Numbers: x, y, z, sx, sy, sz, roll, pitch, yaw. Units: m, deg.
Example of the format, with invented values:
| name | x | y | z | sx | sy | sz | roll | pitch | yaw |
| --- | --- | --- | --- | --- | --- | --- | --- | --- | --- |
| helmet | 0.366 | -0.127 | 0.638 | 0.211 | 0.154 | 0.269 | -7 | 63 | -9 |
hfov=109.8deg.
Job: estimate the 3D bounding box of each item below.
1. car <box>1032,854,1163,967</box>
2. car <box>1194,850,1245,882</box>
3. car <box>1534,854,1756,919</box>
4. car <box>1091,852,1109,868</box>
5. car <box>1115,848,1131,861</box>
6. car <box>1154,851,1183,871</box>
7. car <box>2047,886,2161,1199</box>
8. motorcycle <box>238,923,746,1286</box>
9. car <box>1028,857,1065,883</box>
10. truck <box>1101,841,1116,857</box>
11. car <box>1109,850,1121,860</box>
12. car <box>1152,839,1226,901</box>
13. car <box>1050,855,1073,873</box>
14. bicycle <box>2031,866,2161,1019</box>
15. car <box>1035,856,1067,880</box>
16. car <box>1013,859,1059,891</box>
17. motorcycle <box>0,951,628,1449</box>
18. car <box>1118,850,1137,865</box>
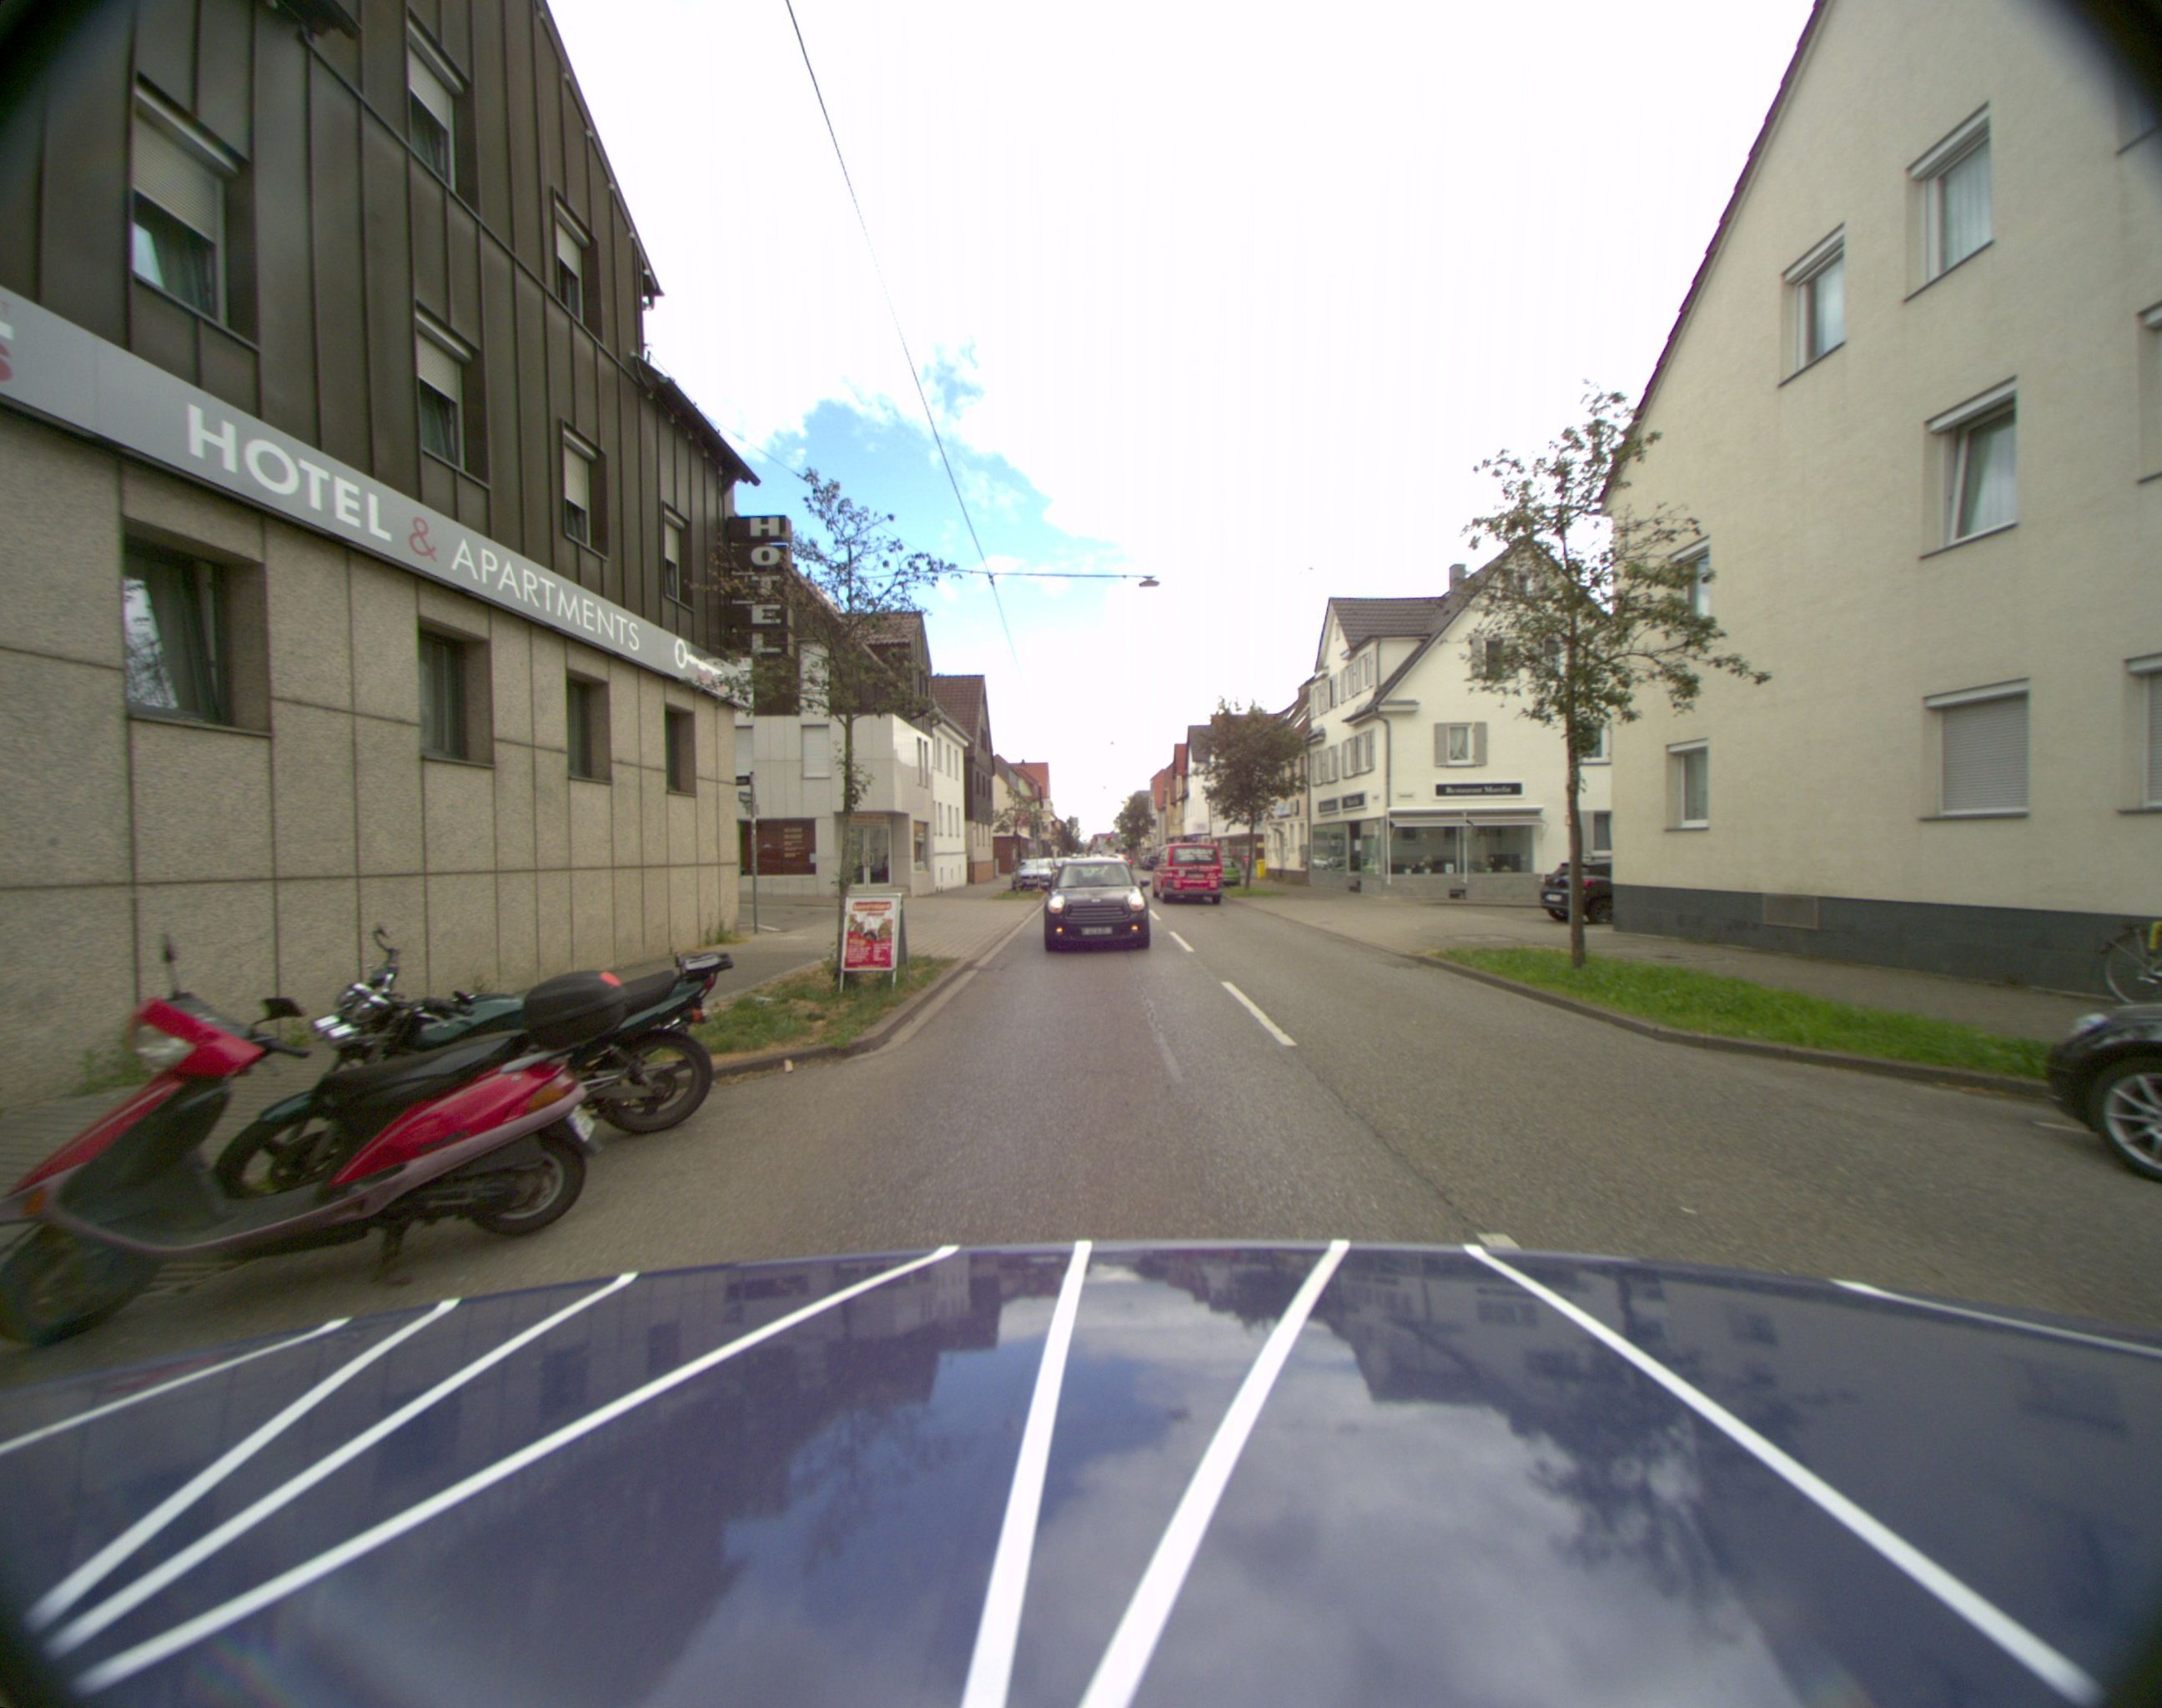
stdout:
| name | x | y | z | sx | sy | sz | roll | pitch | yaw |
| --- | --- | --- | --- | --- | --- | --- | --- | --- | --- |
| car | 0.244 | 0.831 | 13.487 | 1.855 | 1.527 | 4.735 | -2 | 1 | 0 |
| car | 6.687 | 0.559 | 37.041 | 1.715 | 1.389 | 3.900 | -2 | 1 | 0 |
| car | 11.893 | 0.670 | 16.196 | 3.490 | 1.182 | 1.612 | -2 | -1 | 1 |
| car | 2.174 | 0.688 | 85.041 | 1.854 | 1.615 | 4.736 | -2 | 1 | 2 |
| car | 5.201 | 0.061 | 94.011 | 1.779 | 1.446 | 4.000 | -2 | 1 | 2 |
| car | 6.687 | 0.534 | 58.385 | 1.715 | 1.389 | 3.900 | -2 | 1 | 0 |
| car | 5.820 | 0.889 | 1.710 | 1.792 | 1.409 | 4.341 | -1 | 1 | 1 |
| motorcycle | -2.798 | 1.092 | 3.864 | 1.874 | 1.284 | 0.531 | -3 | 1 | -37 |
| car | -1.926 | 0.873 | 43.212 | 1.794 | 1.356 | 3.949 | 0 | 1 | 2 |
| truck | 5.479 | -1.045 | 150.393 | 2.799 | 3.020 | 8.251 | -2 | 1 | 2 |
| car | 5.156 | 0.078 | 116.734 | 1.779 | 1.446 | 4.000 | -2 | 1 | 2 |
| car | 3.554 | 0.472 | 25.780 | 1.855 | 1.932 | 4.490 | 0 | 1 | 0 |
| car | -1.635 | 0.825 | 65.384 | 1.794 | 1.397 | 3.949 | 0 | 1 | 2 |
| bicycle | 8.945 | 0.728 | 5.943 | 0.515 | 1.189 | 2.023 | -2 | 1 | 1 |
| car | -1.874 | 0.874 | 49.162 | 1.794 | 1.397 | 3.949 | 0 | 1 | 2 |
| car | -2.076 | 0.955 | 36.119 | 1.794 | 1.356 | 3.949 | 0 | 1 | 2 |
| motorcycle | -2.672 | 1.111 | 2.855 | 1.588 | 1.284 | 0.500 | -3 | 1 | -28 |
| car | 4.677 | 0.340 | 77.459 | 1.779 | 1.446 | 4.000 | -2 | 1 | 2 |
